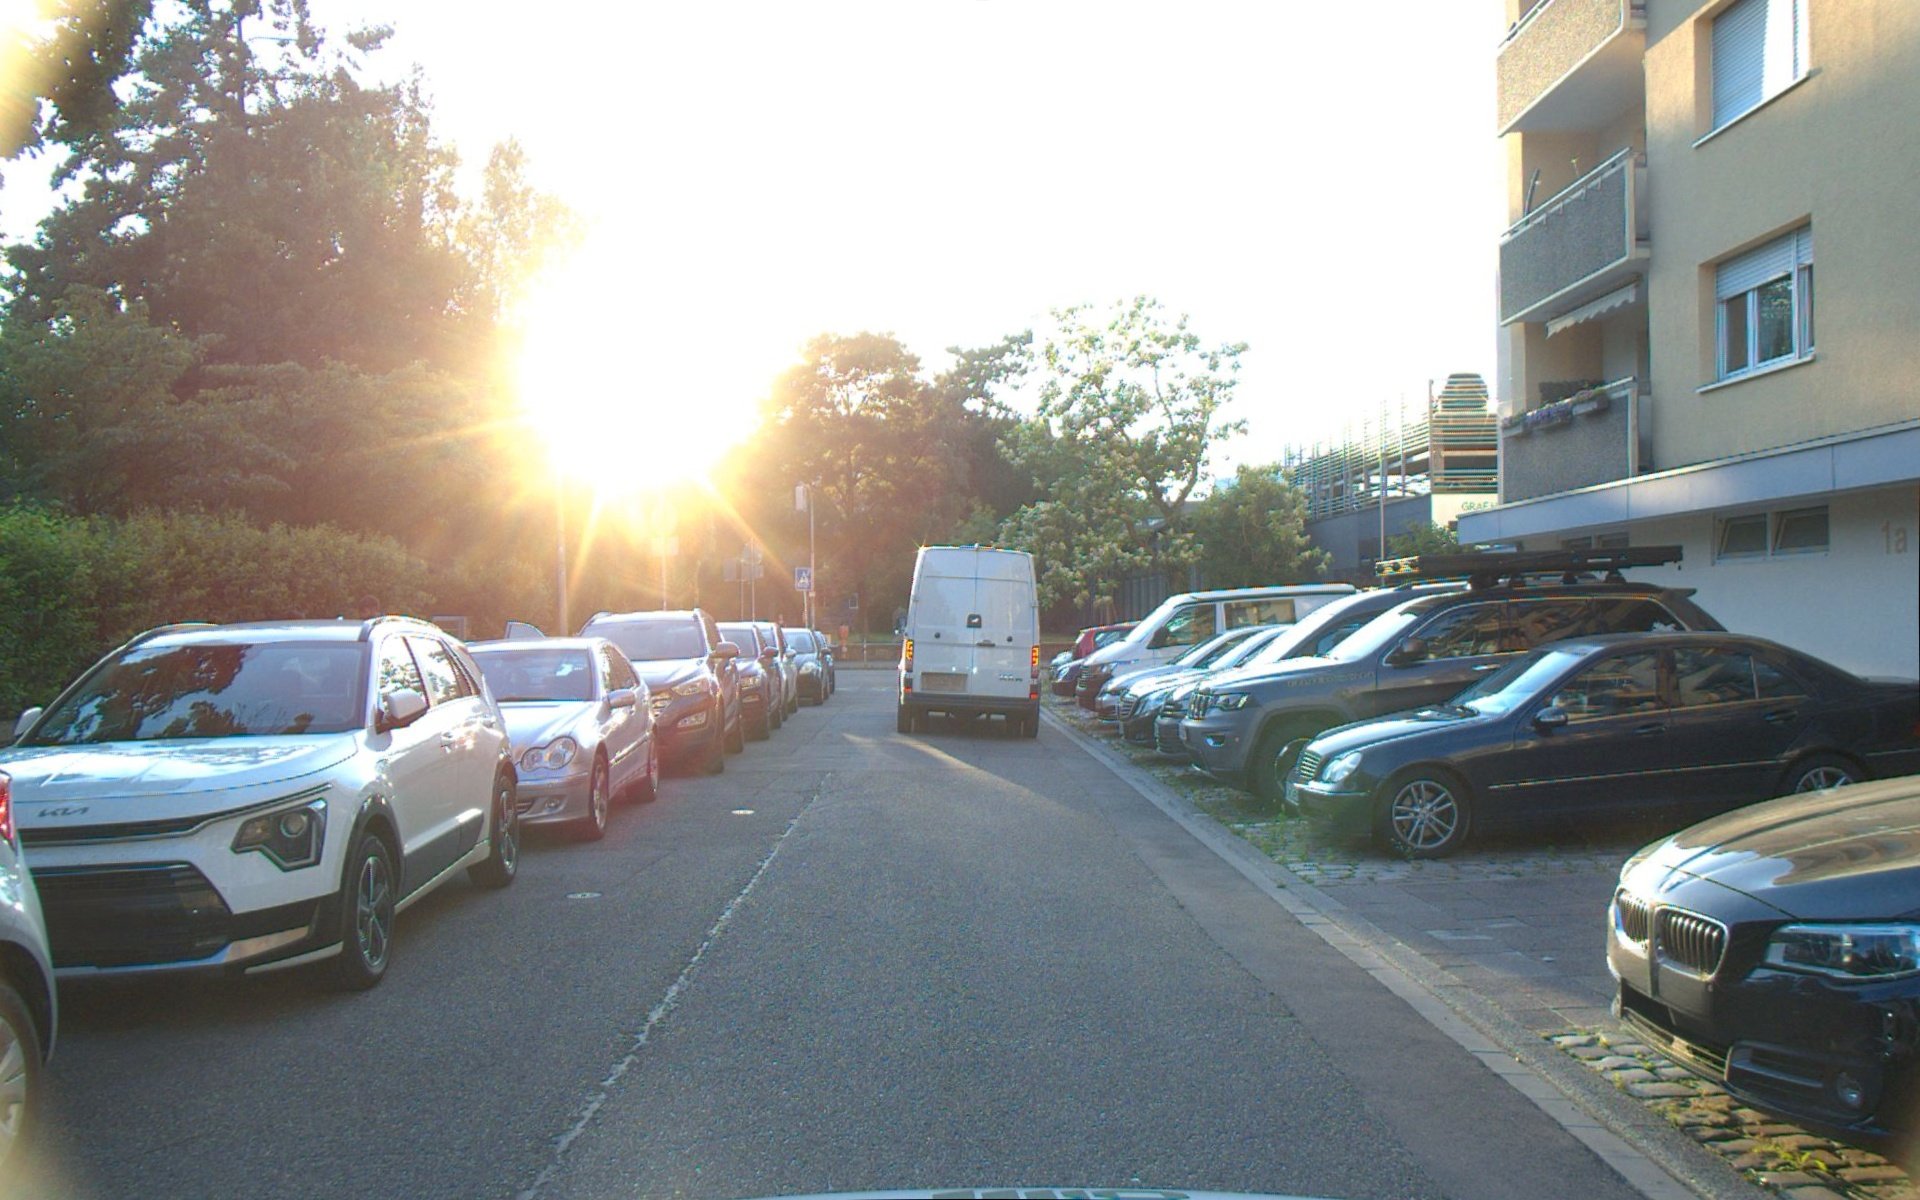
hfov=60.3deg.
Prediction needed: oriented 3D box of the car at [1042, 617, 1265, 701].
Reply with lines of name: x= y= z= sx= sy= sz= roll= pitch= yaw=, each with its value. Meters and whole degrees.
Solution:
car: x=3.957 y=1.227 z=34.316 sx=4.316 sy=1.558 sz=1.844 roll=-2 pitch=-3 yaw=-4

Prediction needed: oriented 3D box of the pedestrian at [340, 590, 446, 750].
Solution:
pedestrian: x=-6.491 y=0.792 z=18.933 sx=0.886 sy=1.763 sz=0.745 roll=1 pitch=-2 yaw=43

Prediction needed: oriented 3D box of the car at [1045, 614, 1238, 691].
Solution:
car: x=4.303 y=1.273 z=39.590 sx=4.316 sy=1.660 sz=1.844 roll=-2 pitch=-3 yaw=-4

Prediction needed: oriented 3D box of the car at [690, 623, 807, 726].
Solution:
car: x=-3.573 y=1.215 z=28.506 sx=1.699 sy=1.595 sz=4.126 roll=-2 pitch=-1 yaw=-4

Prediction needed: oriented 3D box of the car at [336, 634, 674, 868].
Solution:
car: x=-3.374 y=1.040 z=13.073 sx=1.699 sy=1.452 sz=4.283 roll=-2 pitch=-1 yaw=-4

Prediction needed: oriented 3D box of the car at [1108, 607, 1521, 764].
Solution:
car: x=3.987 y=0.984 z=19.137 sx=4.314 sy=1.590 sz=1.845 roll=-2 pitch=-3 yaw=-2

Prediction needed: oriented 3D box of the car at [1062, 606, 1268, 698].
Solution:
car: x=4.525 y=1.152 z=37.031 sx=4.314 sy=1.659 sz=1.846 roll=-5 pitch=-1 yaw=1

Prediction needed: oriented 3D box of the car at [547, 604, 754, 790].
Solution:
car: x=-3.295 y=0.975 z=18.356 sx=1.699 sy=1.760 sz=4.319 roll=-2 pitch=-1 yaw=-4

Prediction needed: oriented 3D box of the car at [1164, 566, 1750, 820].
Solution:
car: x=4.111 y=0.754 z=14.196 sx=4.421 sy=1.896 sz=1.845 roll=-2 pitch=-1 yaw=-2

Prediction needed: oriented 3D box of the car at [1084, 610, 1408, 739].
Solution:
car: x=4.070 y=1.083 z=24.031 sx=4.314 sy=1.660 sz=1.845 roll=-2 pitch=-3 yaw=-2

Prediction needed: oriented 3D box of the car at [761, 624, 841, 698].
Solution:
car: x=-3.687 y=1.392 z=38.760 sx=1.699 sy=1.595 sz=3.787 roll=-2 pitch=-1 yaw=-4

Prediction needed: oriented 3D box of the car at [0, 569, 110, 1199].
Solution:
car: x=-3.236 y=0.762 z=2.633 sx=1.698 sy=1.660 sz=3.980 roll=-2 pitch=-1 yaw=0

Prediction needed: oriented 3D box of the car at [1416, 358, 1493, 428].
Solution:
car: x=18.495 y=-7.718 z=62.061 sx=1.951 sy=2.049 sz=4.002 roll=0 pitch=-1 yaw=4

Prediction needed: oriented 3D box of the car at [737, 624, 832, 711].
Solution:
car: x=-3.475 y=1.309 z=33.214 sx=1.699 sy=1.595 sz=3.694 roll=-2 pitch=-1 yaw=-4

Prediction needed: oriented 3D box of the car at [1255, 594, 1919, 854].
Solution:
car: x=4.442 y=0.856 z=11.811 sx=4.313 sy=1.581 sz=1.845 roll=-2 pitch=-3 yaw=1

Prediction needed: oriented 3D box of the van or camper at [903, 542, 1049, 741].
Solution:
van or camper: x=0.166 y=0.606 z=25.461 sx=1.953 sy=2.664 sz=6.401 roll=0 pitch=-1 yaw=-1

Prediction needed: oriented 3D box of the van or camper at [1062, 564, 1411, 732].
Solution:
van or camper: x=4.296 y=0.752 z=26.283 sx=5.031 sy=2.205 sz=2.039 roll=-4 pitch=-1 yaw=-3

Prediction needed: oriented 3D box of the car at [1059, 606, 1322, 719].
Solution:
car: x=3.990 y=1.103 z=29.087 sx=4.240 sy=1.690 sz=1.780 roll=-3 pitch=-3 yaw=-4

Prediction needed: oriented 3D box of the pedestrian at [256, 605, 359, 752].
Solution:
pedestrian: x=-7.163 y=0.849 z=18.194 sx=0.733 sy=1.534 sz=0.901 roll=3 pitch=-1 yaw=-3

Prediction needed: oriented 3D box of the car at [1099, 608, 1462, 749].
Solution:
car: x=4.086 y=1.023 z=21.580 sx=4.314 sy=1.621 sz=1.845 roll=-2 pitch=-3 yaw=-2

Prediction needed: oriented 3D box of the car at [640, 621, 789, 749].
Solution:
car: x=-3.370 y=1.123 z=23.392 sx=1.699 sy=1.595 sz=4.164 roll=-2 pitch=-1 yaw=-4

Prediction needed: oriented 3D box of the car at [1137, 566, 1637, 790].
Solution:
car: x=4.213 y=0.788 z=16.844 sx=4.543 sy=2.016 sz=1.845 roll=-2 pitch=-3 yaw=-2

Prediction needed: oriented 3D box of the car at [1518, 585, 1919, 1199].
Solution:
car: x=4.211 y=0.746 z=5.072 sx=4.318 sy=1.581 sz=1.843 roll=-2 pitch=-3 yaw=-6

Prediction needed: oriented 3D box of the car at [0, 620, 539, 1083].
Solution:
car: x=-3.306 y=0.908 z=7.881 sx=1.724 sy=1.570 sz=4.277 roll=-2 pitch=-1 yaw=-4

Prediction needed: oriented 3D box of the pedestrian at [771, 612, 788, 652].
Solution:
pedestrian: x=-7.697 y=1.357 z=70.639 sx=0.633 sy=1.678 sz=0.673 roll=1 pitch=-1 yaw=-1
